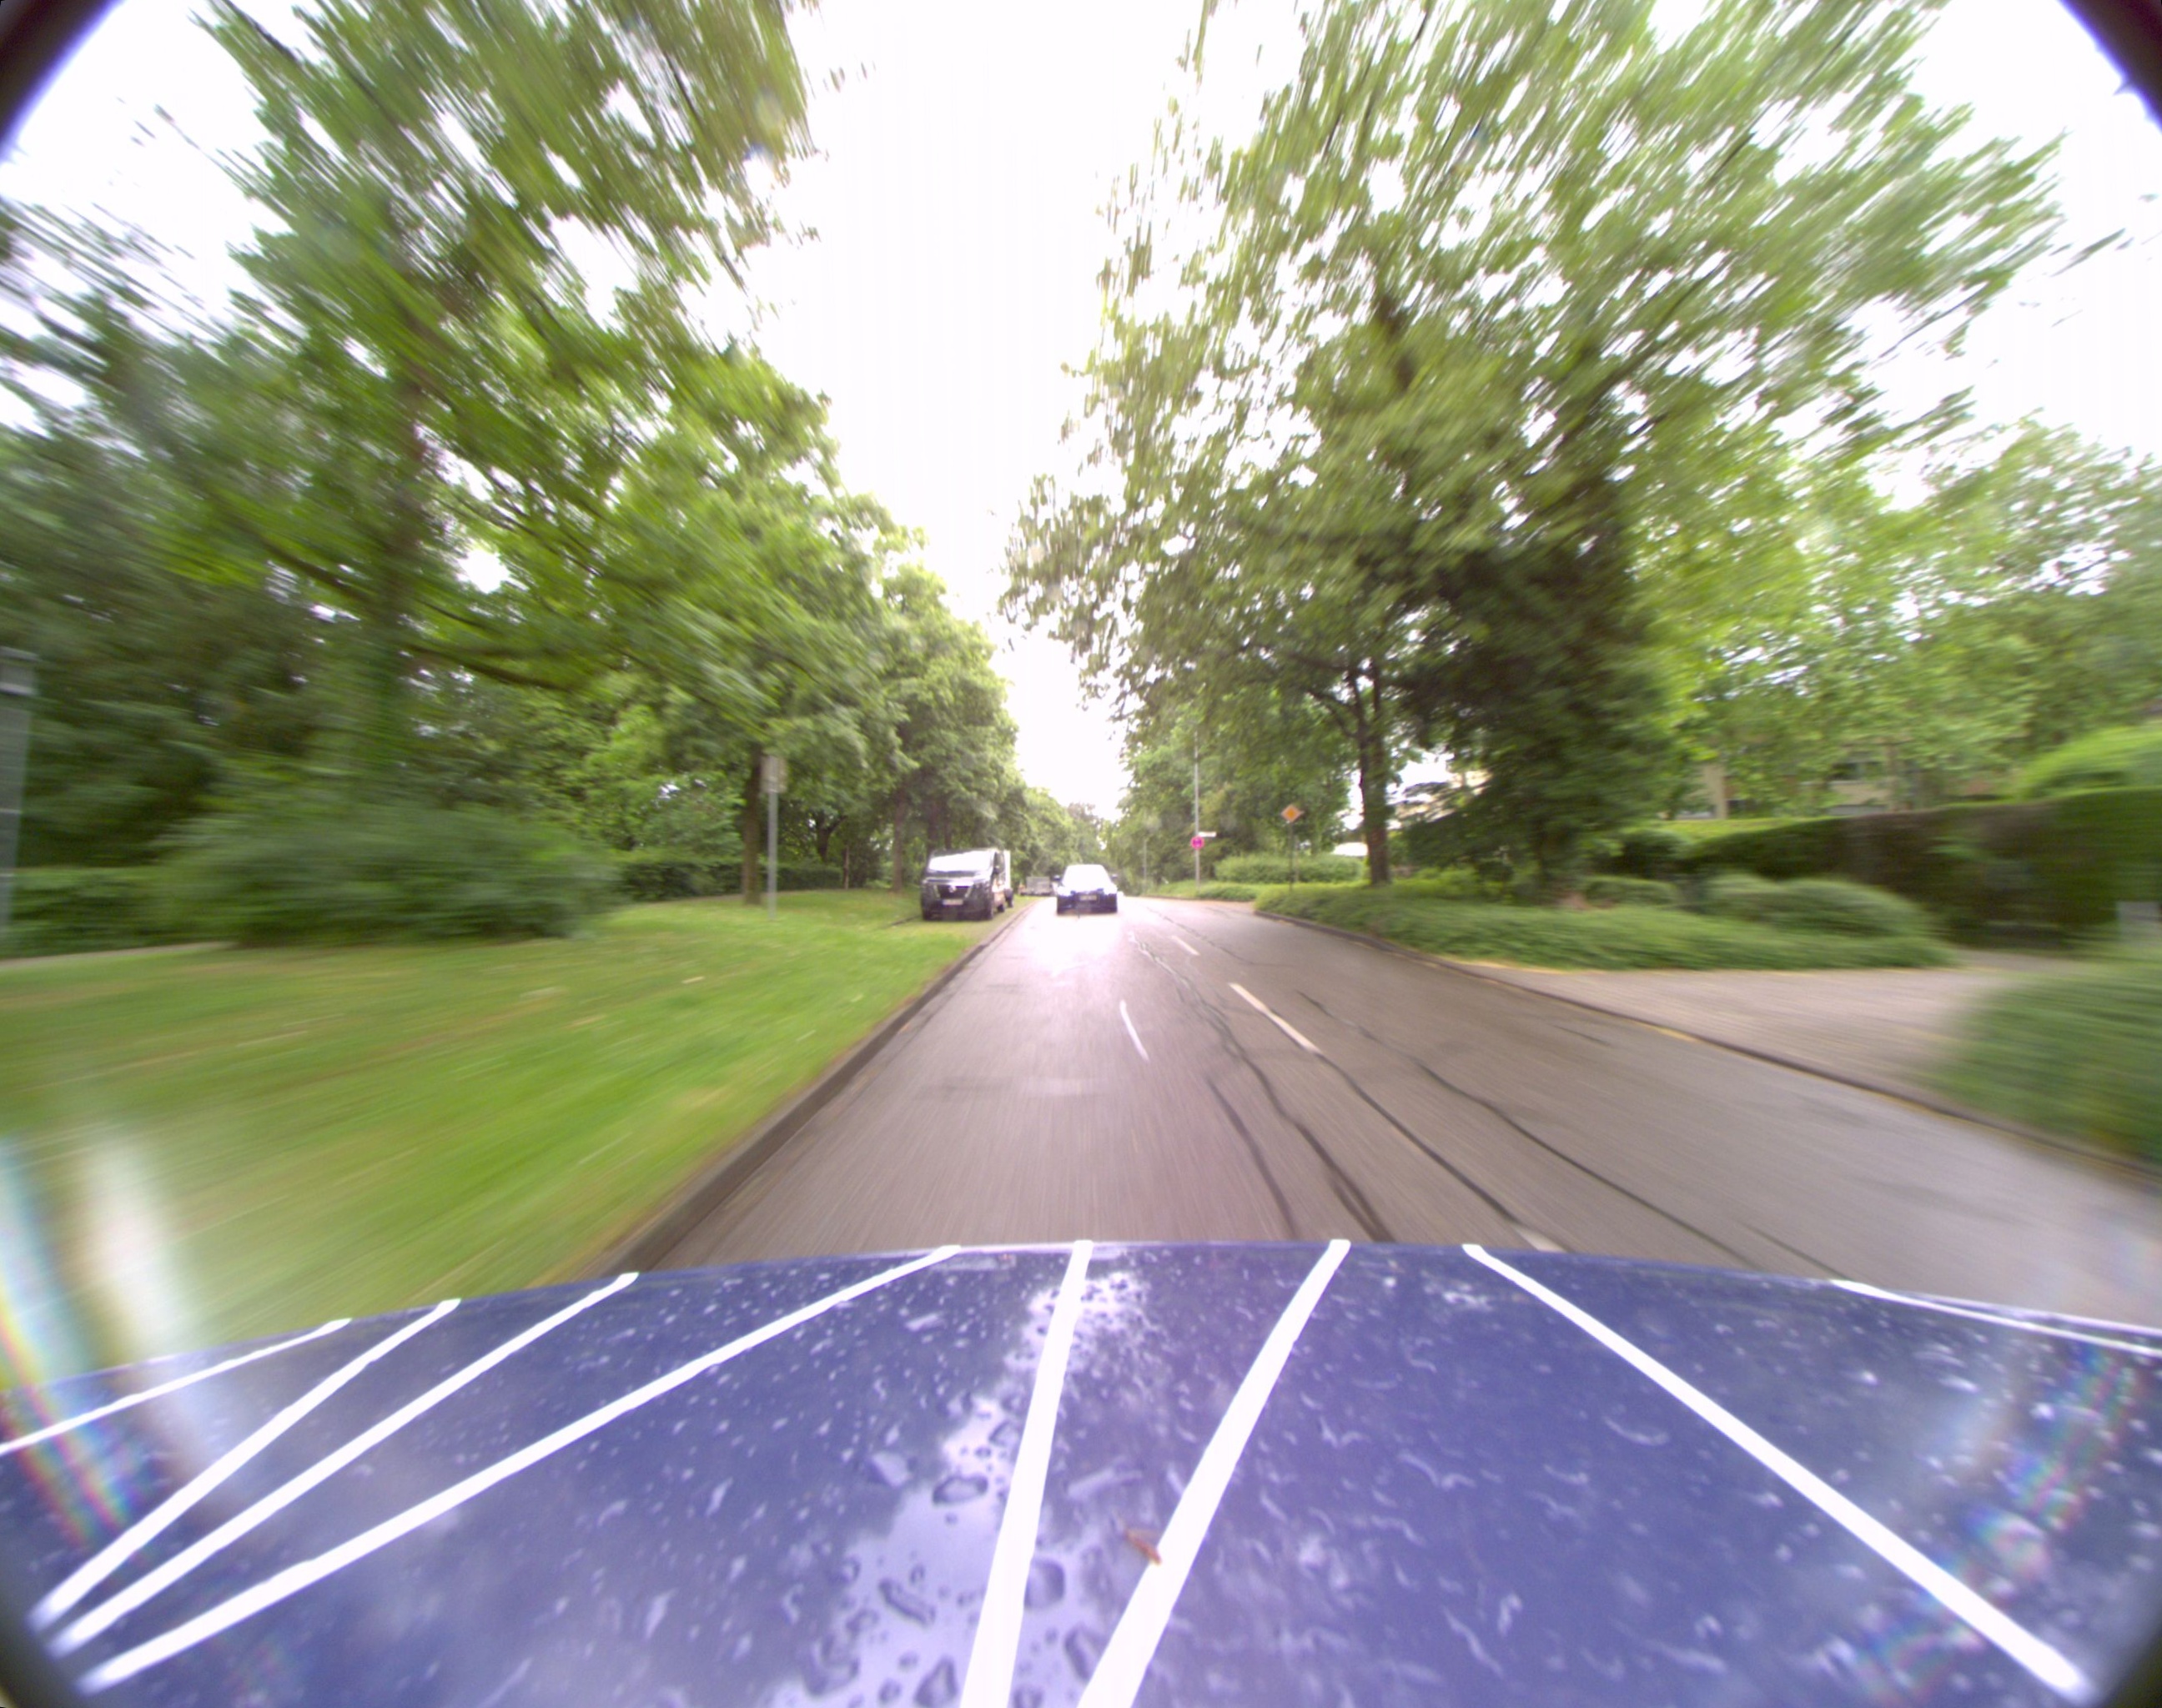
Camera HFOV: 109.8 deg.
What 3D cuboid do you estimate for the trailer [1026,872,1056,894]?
[{"bbox_3d":[-3.074,2.289,59.244,1.998,1.590,4.572,-2,-2,1],"label":"trailer"}]

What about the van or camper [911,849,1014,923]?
[{"bbox_3d":[-3.228,0.841,21.890,1.998,1.857,5.665,0,-1,1],"label":"van or camper"}]

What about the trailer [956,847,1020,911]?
[{"bbox_3d":[-3.194,0.830,26.706,1.700,2.041,3.952,-1,0,1],"label":"trailer"}]

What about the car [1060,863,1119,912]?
[{"bbox_3d":[0.304,1.064,25.711,1.796,1.458,4.510,-1,0,1],"label":"car"}]
